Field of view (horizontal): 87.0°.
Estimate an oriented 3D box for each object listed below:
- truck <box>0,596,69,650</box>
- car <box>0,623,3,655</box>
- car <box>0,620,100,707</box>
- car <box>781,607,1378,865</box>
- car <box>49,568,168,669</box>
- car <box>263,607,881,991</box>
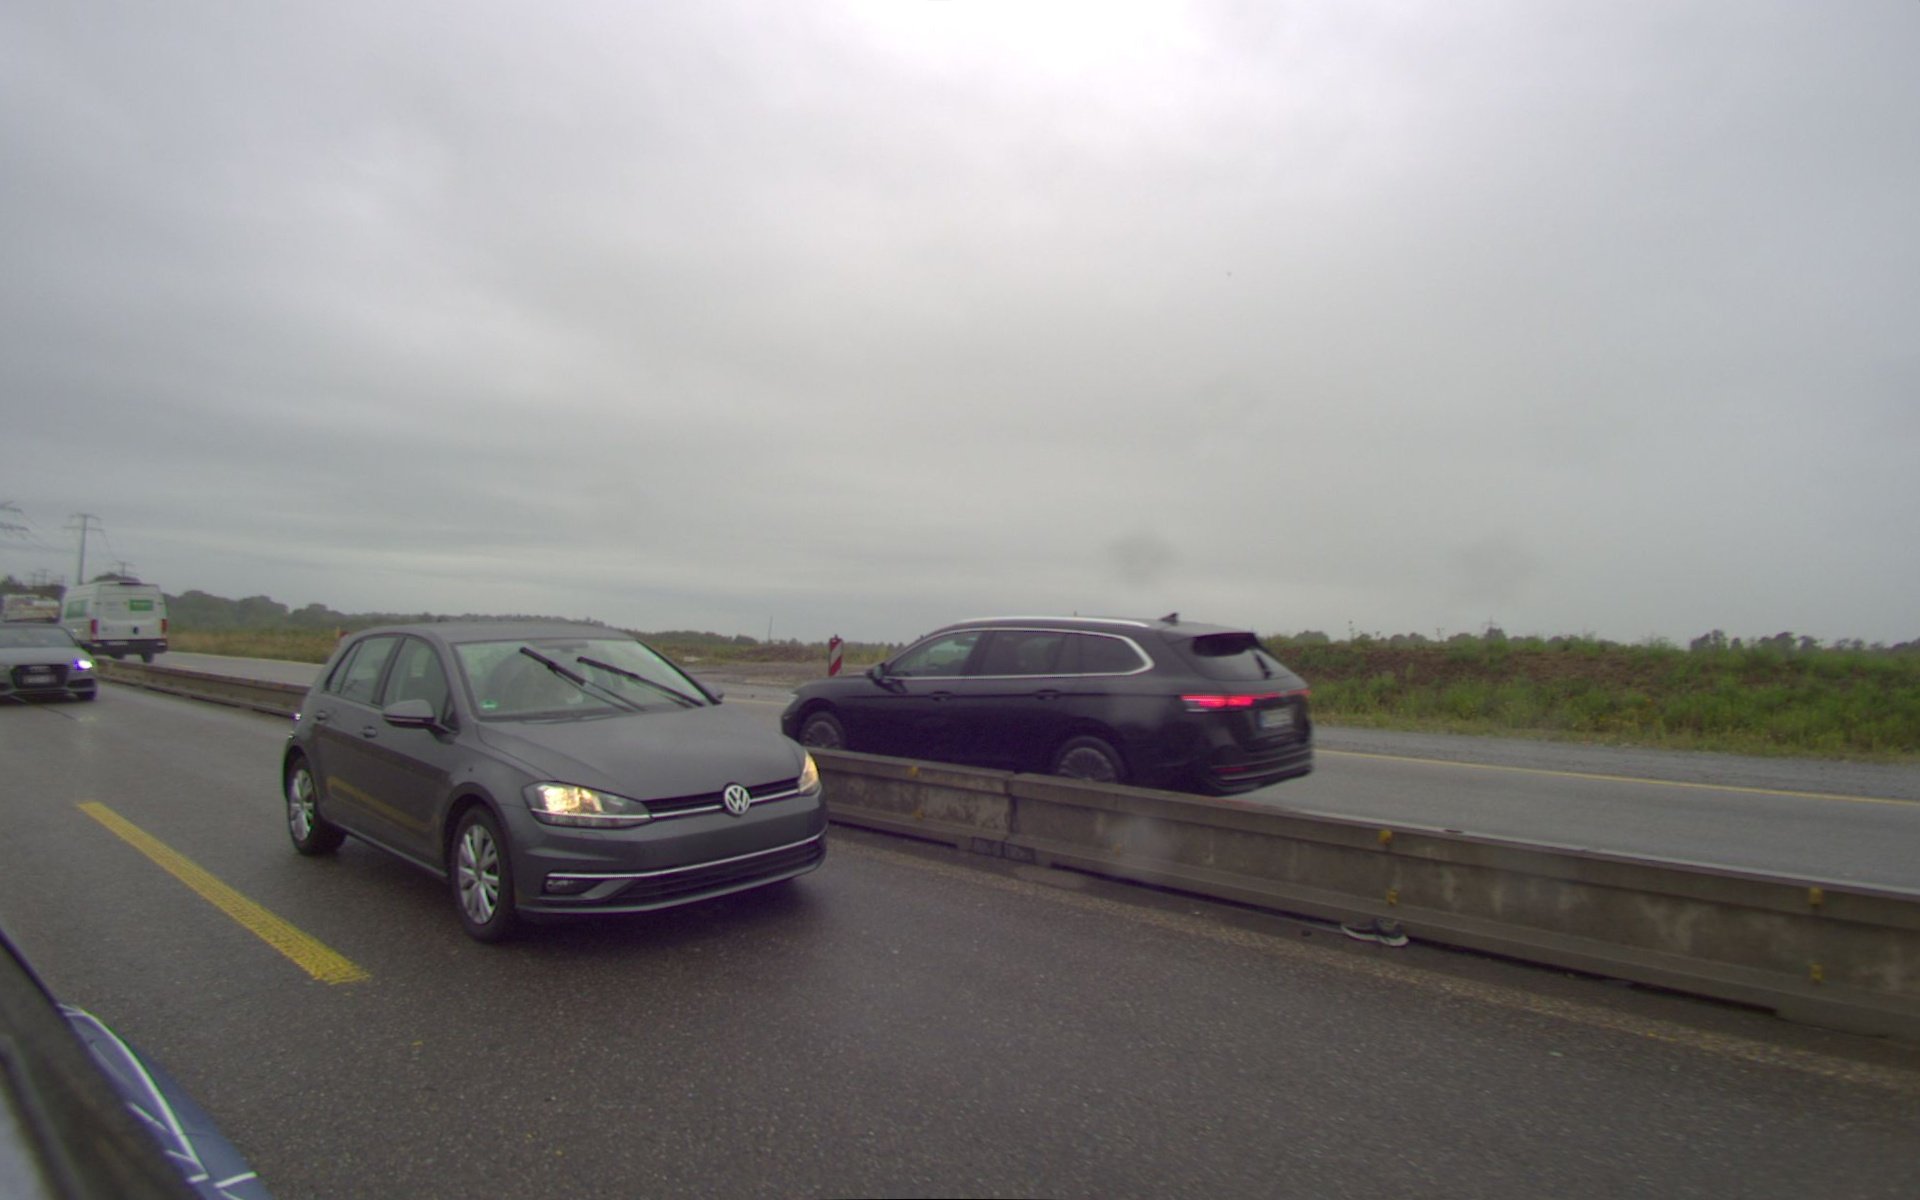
[{"bbox_3d":[-53.629,1.380,58.387,6.544,2.916,2.334,-2,-3,41],"label":"truck"},{"bbox_3d":[-47.847,1.891,48.980,4.746,1.506,1.729,-1,-1,41],"label":"car"},{"bbox_3d":[-17.549,1.106,18.810,4.267,1.407,1.776,0,0,41],"label":"car"},{"bbox_3d":[0.734,0.823,8.228,4.579,1.507,1.875,0,0,41],"label":"car"},{"bbox_3d":[-28.668,0.607,33.951,7.167,3.068,1.973,-1,-1,41],"label":"car"},{"bbox_3d":[-2.445,0.764,5.785,4.079,1.433,1.632,0,-1,42],"label":"car"}]
